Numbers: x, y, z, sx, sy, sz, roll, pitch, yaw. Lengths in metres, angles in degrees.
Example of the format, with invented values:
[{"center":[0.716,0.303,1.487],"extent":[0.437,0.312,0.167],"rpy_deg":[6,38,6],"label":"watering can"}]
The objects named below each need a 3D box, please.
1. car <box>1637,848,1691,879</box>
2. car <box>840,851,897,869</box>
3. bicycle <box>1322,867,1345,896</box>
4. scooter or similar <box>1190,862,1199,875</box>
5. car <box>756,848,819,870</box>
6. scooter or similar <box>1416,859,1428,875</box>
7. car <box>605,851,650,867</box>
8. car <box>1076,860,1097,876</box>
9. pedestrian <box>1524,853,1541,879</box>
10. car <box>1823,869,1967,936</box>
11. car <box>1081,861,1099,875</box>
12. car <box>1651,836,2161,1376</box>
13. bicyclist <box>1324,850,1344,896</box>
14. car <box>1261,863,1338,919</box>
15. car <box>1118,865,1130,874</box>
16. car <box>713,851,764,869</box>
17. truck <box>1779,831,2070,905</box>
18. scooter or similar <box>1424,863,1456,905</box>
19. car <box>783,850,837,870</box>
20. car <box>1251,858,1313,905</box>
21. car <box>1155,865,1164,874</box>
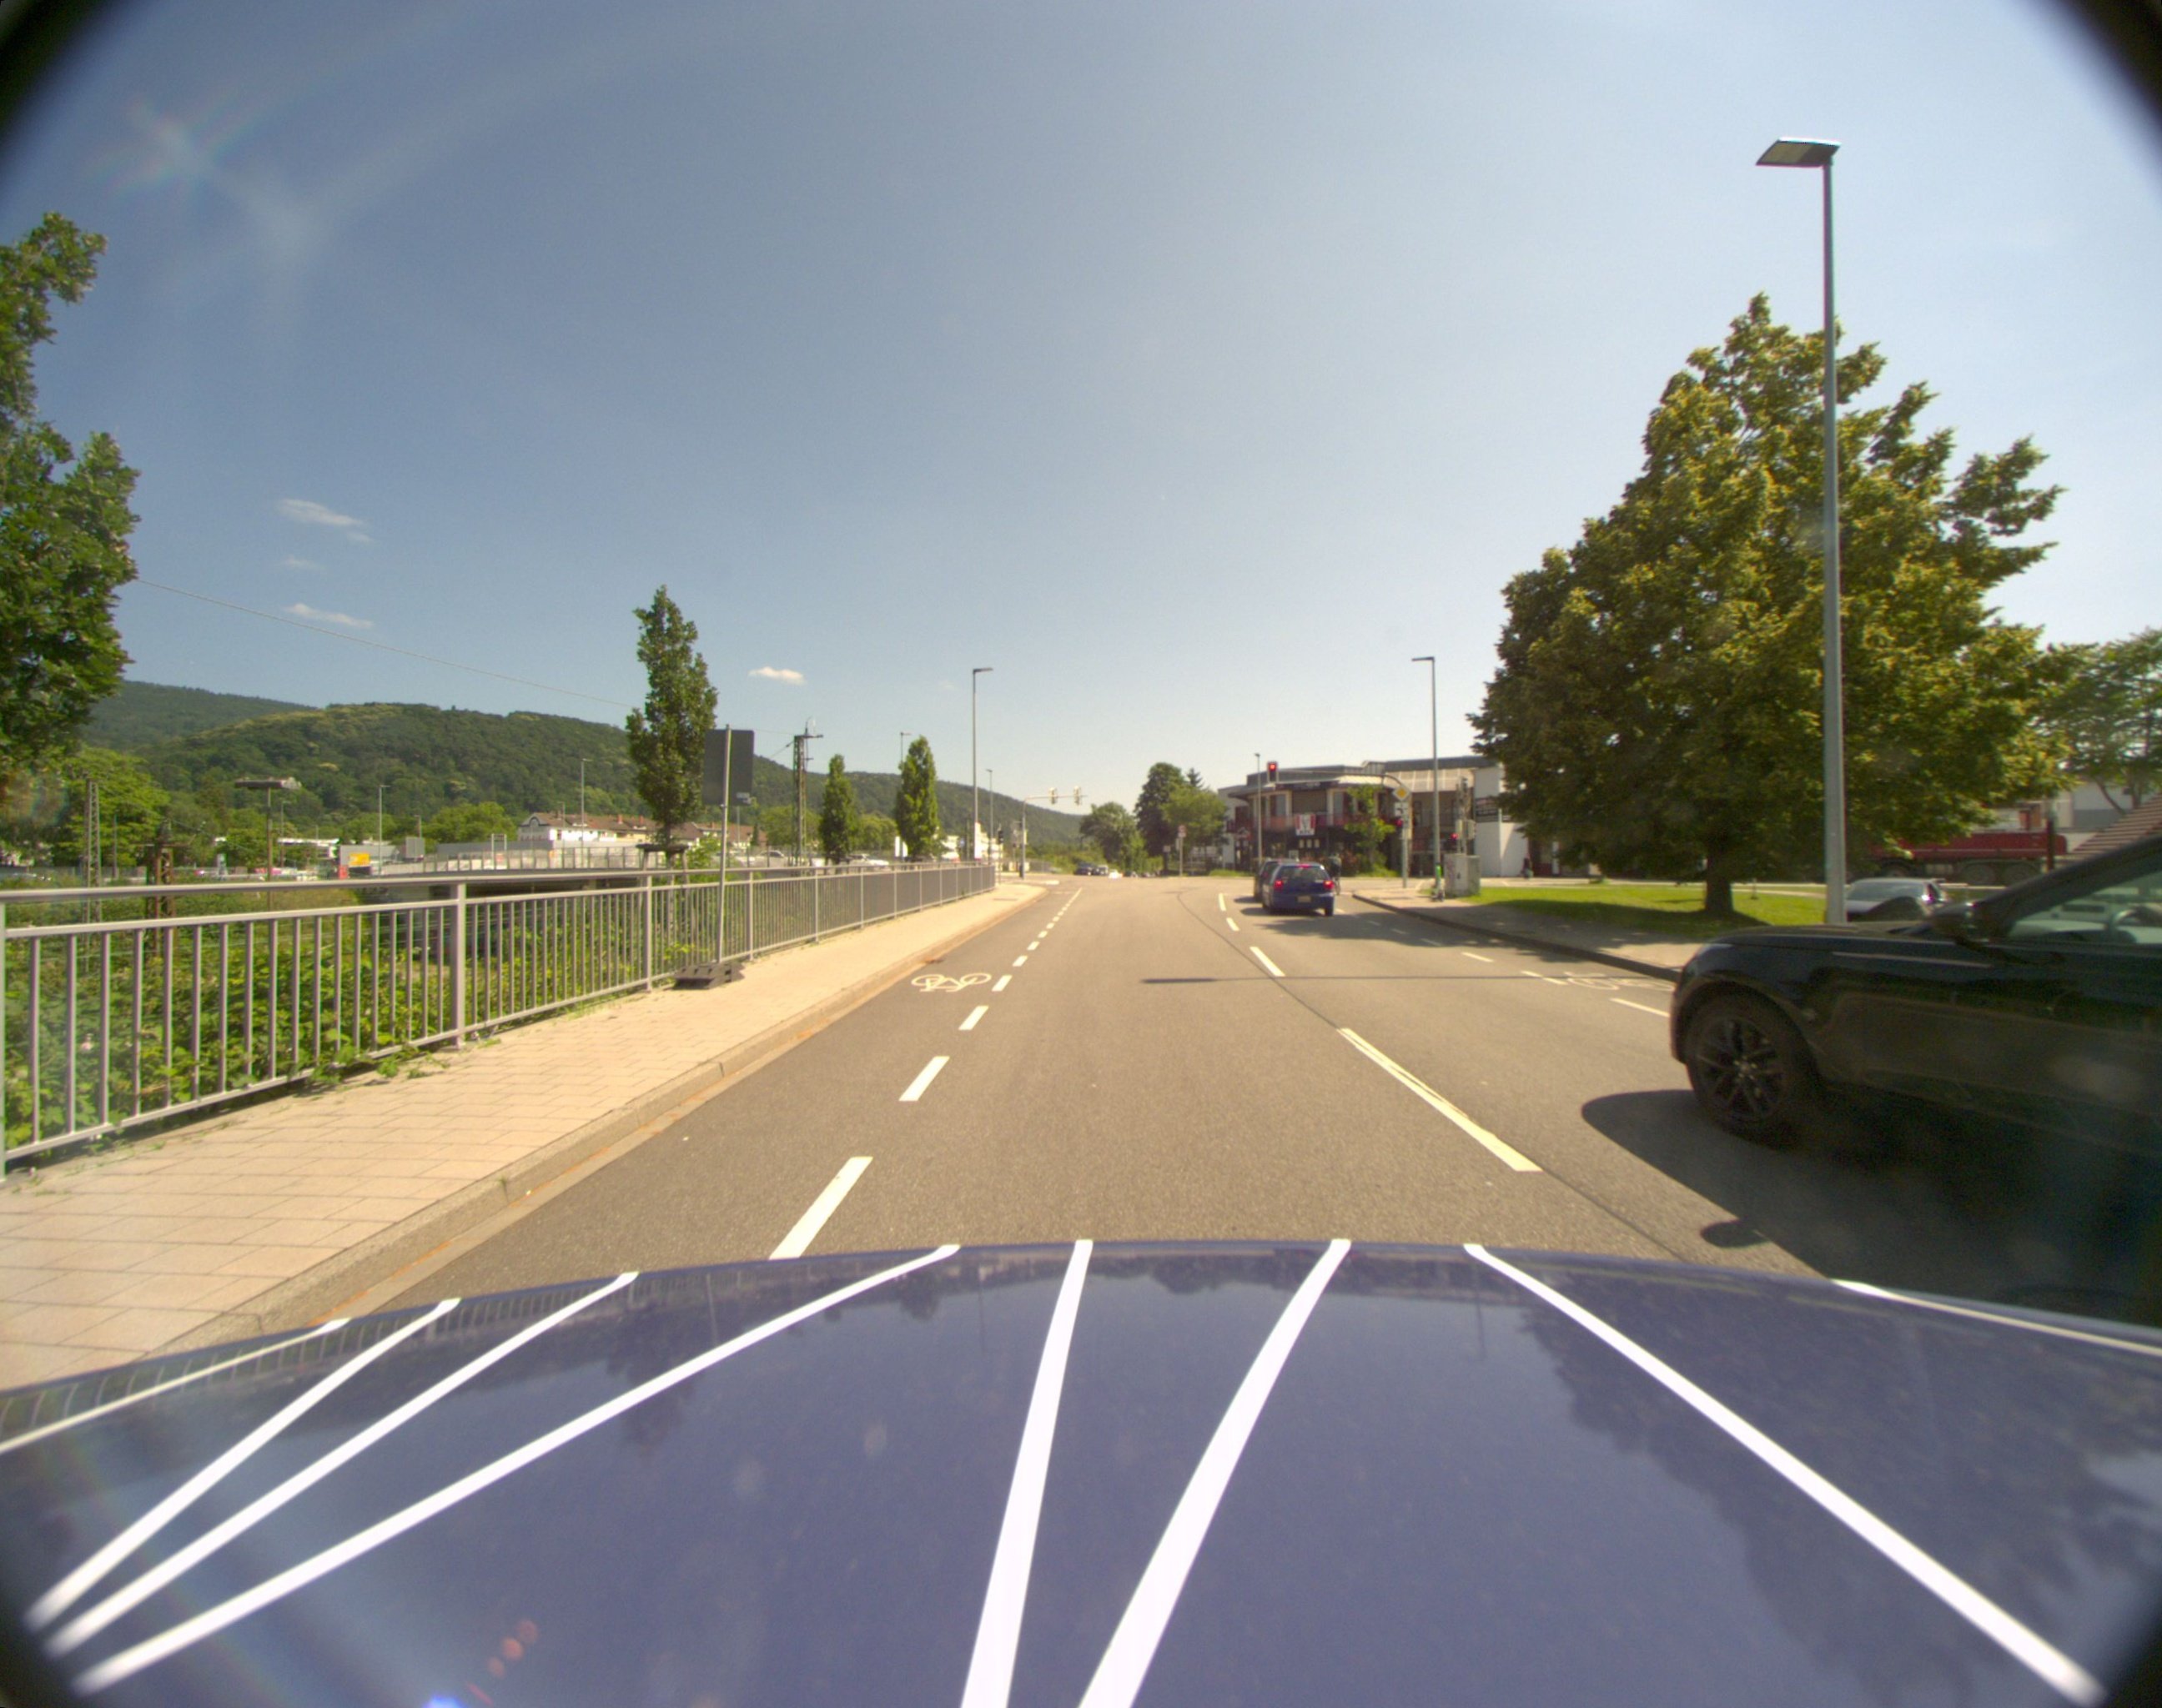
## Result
[{"center":[36.837,0.588,48.126],"extent":[1.804,1.844,4.668],"rpy_deg":[0,0,26],"label":"car"},{"center":[-17.297,0.492,61.914],"extent":[4.399,1.461,1.740],"rpy_deg":[0,0,26],"label":"car"},{"center":[10.010,1.073,30.137],"extent":[0.698,1.098,1.757],"rpy_deg":[2,0,14],"label":"bicycle"},{"center":[9.886,1.252,66.190],"extent":[0.426,1.117,1.454],"rpy_deg":[0,0,20],"label":"scooter or similar"},{"center":[-23.609,0.415,61.118],"extent":[4.622,1.709,2.003],"rpy_deg":[0,0,21],"label":"car"},{"center":[24.190,0.930,53.847],"extent":[0.499,1.117,1.507],"rpy_deg":[0,0,34],"label":"scooter or similar"},{"center":[-45.335,0.511,75.913],"extent":[4.431,1.617,1.740],"rpy_deg":[-1,0,26],"label":"car"},{"center":[0.651,1.512,81.825],"extent":[1.828,1.617,4.239],"rpy_deg":[0,0,7],"label":"car"},{"center":[28.795,0.765,48.457],"extent":[0.843,1.636,0.731],"rpy_deg":[0,0,-44],"label":"pedestrian"},{"center":[21.834,1.224,20.576],"extent":[1.860,1.543,4.197],"rpy_deg":[0,0,36],"label":"car"},{"center":[1.076,1.537,86.259],"extent":[1.671,1.523,4.002],"rpy_deg":[0,0,6],"label":"car"},{"center":[4.349,0.785,2.179],"extent":[1.955,1.685,4.613],"rpy_deg":[0,0,0],"label":"car"},{"center":[10.019,0.741,30.084],"extent":[0.711,1.778,0.810],"rpy_deg":[0,0,15],"label":"bicyclist"},{"center":[5.858,0.932,20.749],"extent":[1.658,1.372,4.004],"rpy_deg":[0,0,11],"label":"car"},{"center":[7.188,2.612,126.780],"extent":[1.671,1.427,4.002],"rpy_deg":[0,0,6],"label":"car"},{"center":[-30.803,0.538,68.293],"extent":[4.431,1.617,1.740],"rpy_deg":[0,0,26],"label":"car"},{"center":[41.493,0.703,37.965],"extent":[9.144,3.366,3.321],"rpy_deg":[-1,-1,26],"label":"truck"},{"center":[10.682,0.874,22.636],"extent":[0.472,1.177,1.366],"rpy_deg":[0,0,9],"label":"scooter or similar"},{"center":[-23.213,0.514,65.013],"extent":[4.431,1.617,1.740],"rpy_deg":[0,0,26],"label":"car"},{"center":[6.831,0.876,26.172],"extent":[1.782,1.488,4.727],"rpy_deg":[0,0,11],"label":"car"},{"center":[16.562,3.329,160.116],"extent":[1.671,1.718,4.003],"rpy_deg":[-4,-1,9],"label":"car"}]
